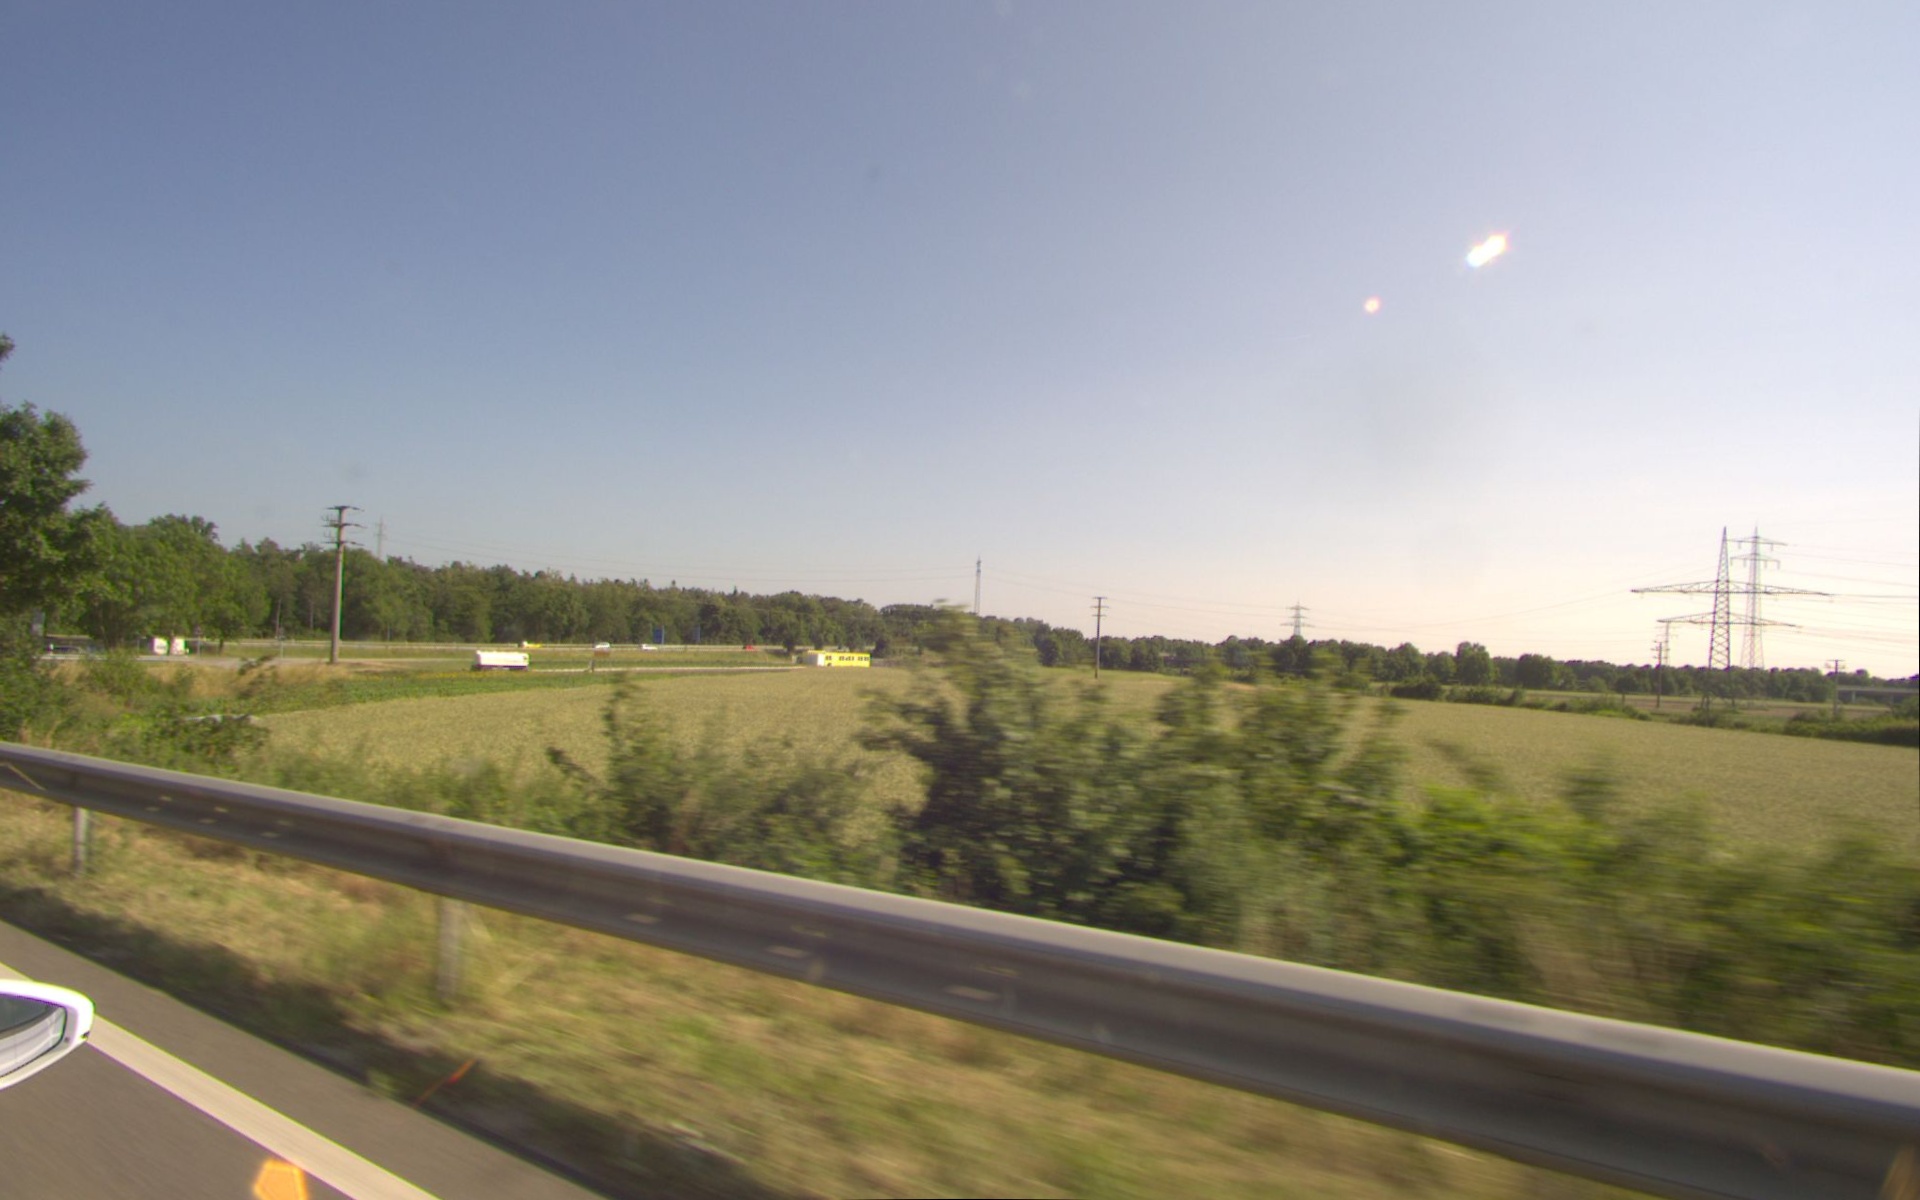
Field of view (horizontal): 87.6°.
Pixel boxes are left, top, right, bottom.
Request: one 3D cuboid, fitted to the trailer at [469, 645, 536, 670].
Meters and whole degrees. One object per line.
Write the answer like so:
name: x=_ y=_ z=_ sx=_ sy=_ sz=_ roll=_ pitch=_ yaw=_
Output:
trailer: x=-55.246 y=7.000 z=120.899 sx=6.741 sy=2.703 sz=2.867 roll=5 pitch=-4 yaw=-42
